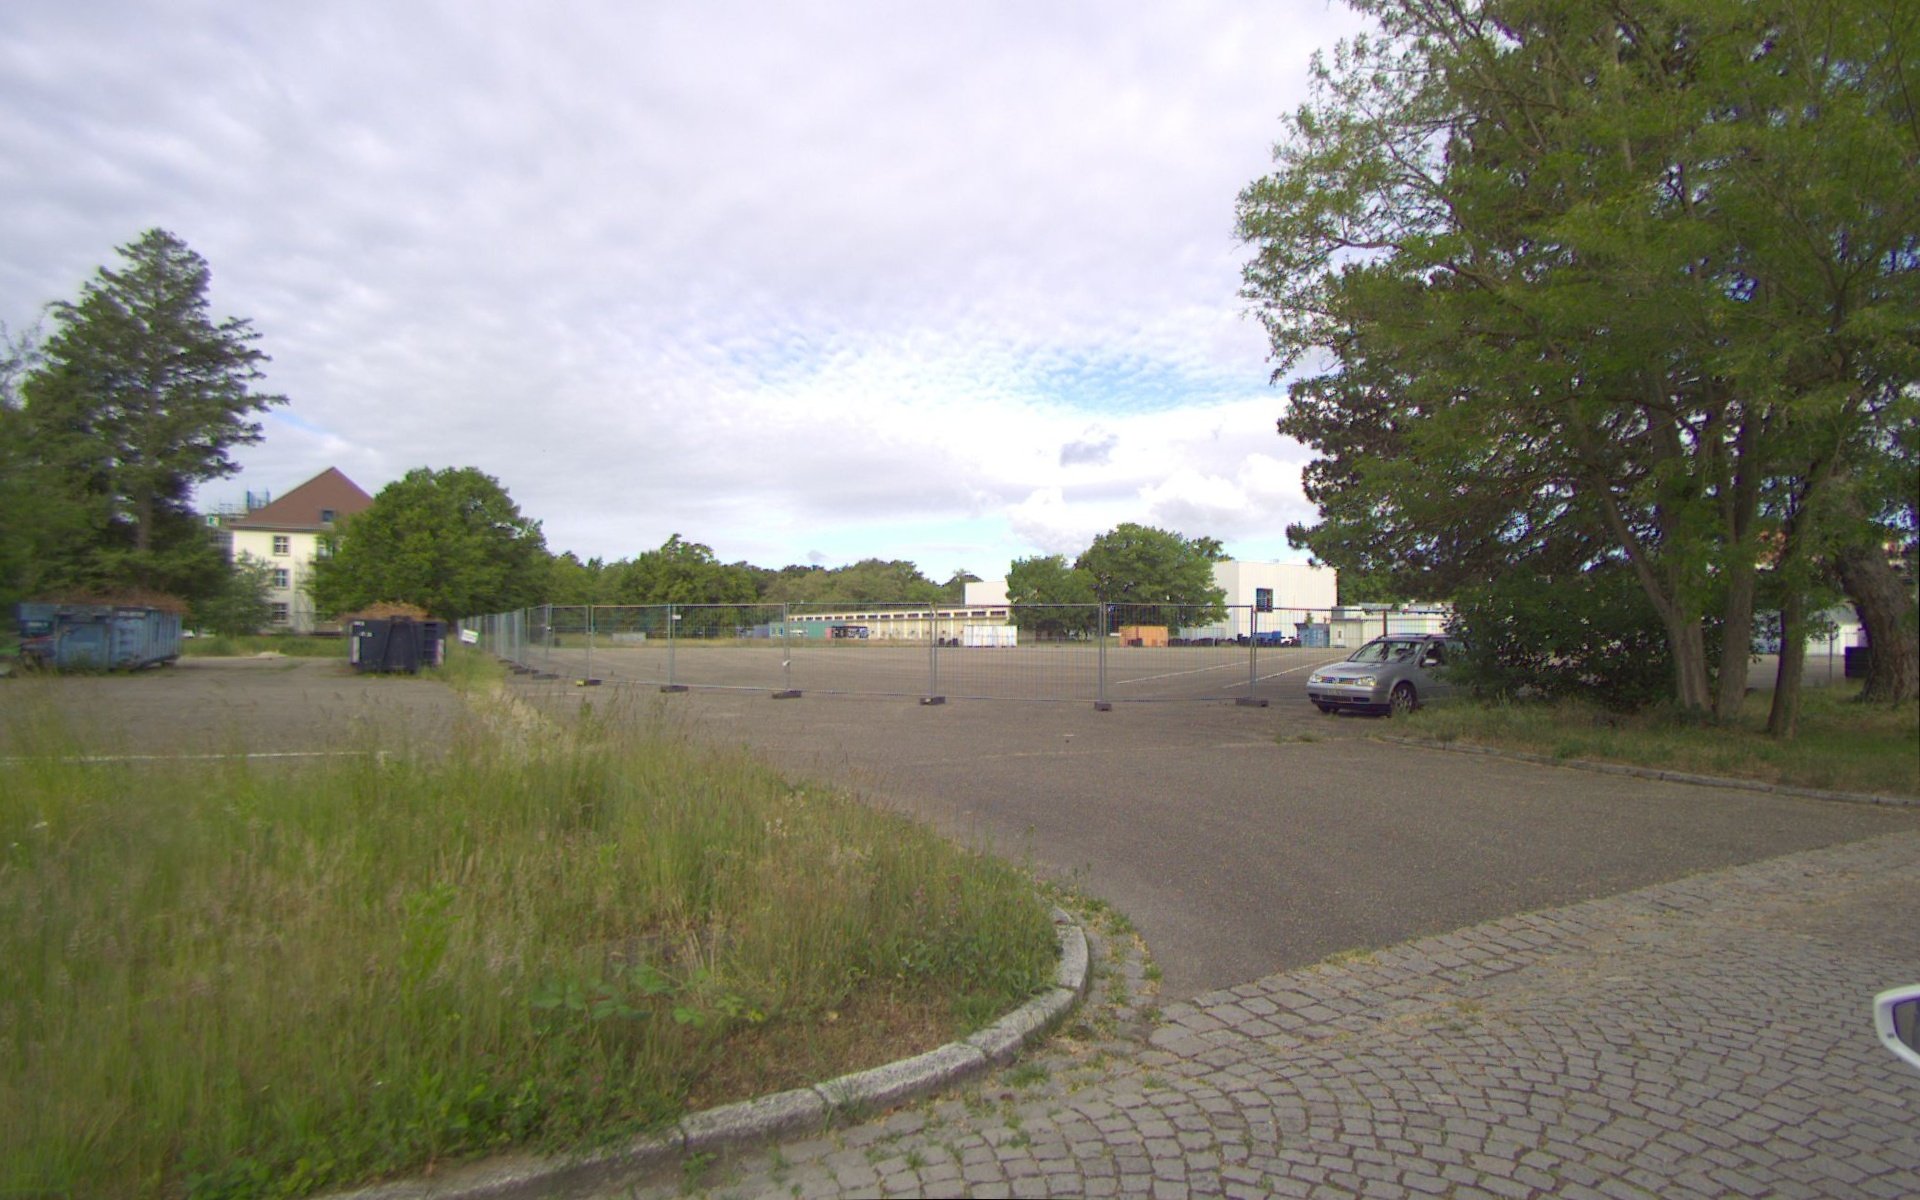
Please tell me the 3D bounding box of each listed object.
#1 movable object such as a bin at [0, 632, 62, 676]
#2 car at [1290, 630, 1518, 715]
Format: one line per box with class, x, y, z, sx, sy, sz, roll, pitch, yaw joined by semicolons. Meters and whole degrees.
movable object such as a bin;-22.325;1.255;23.409;1.940;0.982;1.433;1;-2;-37
car;8.397;1.288;18.911;4.372;1.435;1.815;1;-2;-32
